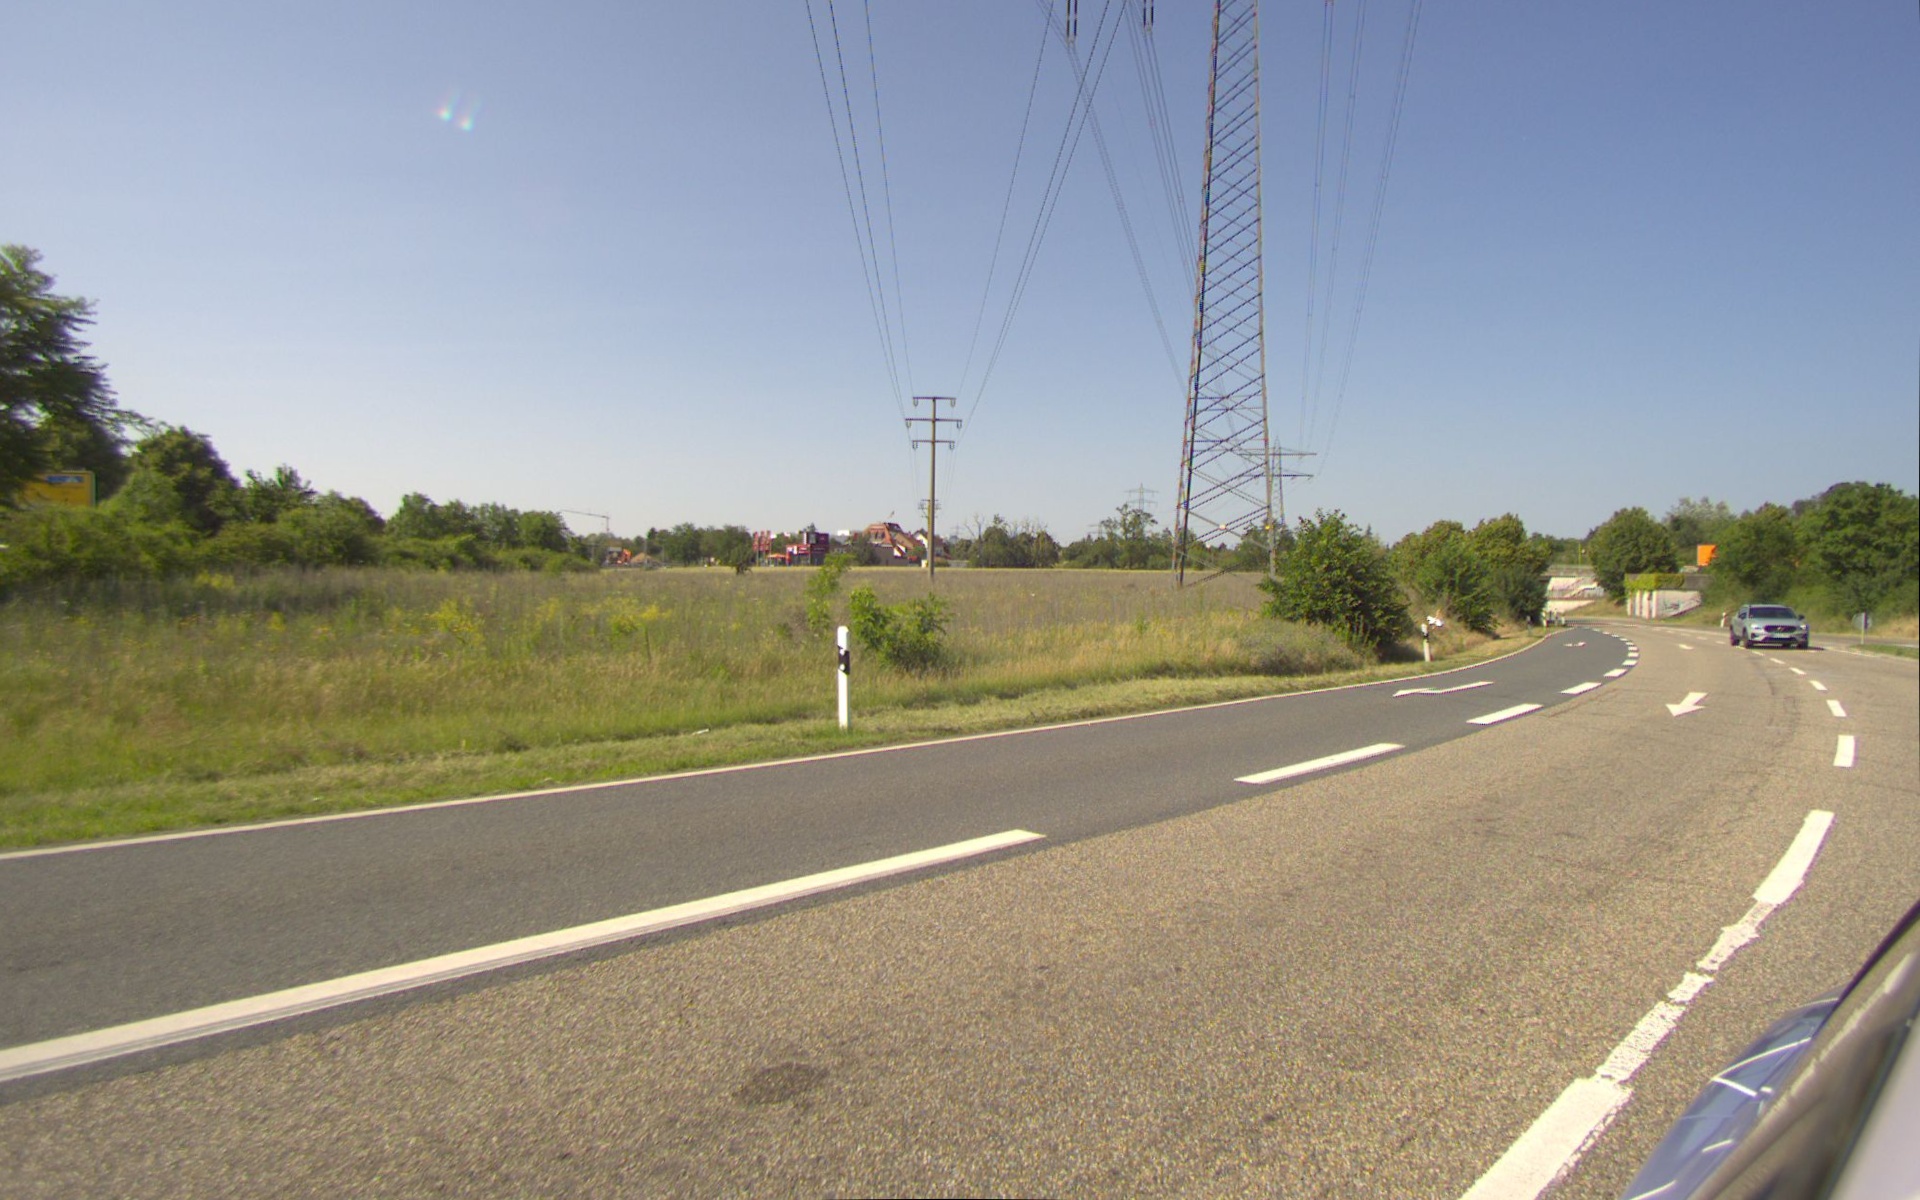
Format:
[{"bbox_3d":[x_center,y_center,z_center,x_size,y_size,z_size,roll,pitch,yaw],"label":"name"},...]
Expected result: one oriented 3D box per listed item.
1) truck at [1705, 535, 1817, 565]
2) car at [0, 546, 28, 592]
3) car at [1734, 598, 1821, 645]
[{"bbox_3d":[98.966,-6.140,125.361,2.117,3.224,11.305,0,0,-22],"label":"truck"},{"bbox_3d":[-52.950,-1.707,55.132,1.431,2.467,3.913,0,0,-12],"label":"car"},{"bbox_3d":[30.683,0.778,38.076,1.843,1.640,3.612,0,0,28],"label":"car"}]
